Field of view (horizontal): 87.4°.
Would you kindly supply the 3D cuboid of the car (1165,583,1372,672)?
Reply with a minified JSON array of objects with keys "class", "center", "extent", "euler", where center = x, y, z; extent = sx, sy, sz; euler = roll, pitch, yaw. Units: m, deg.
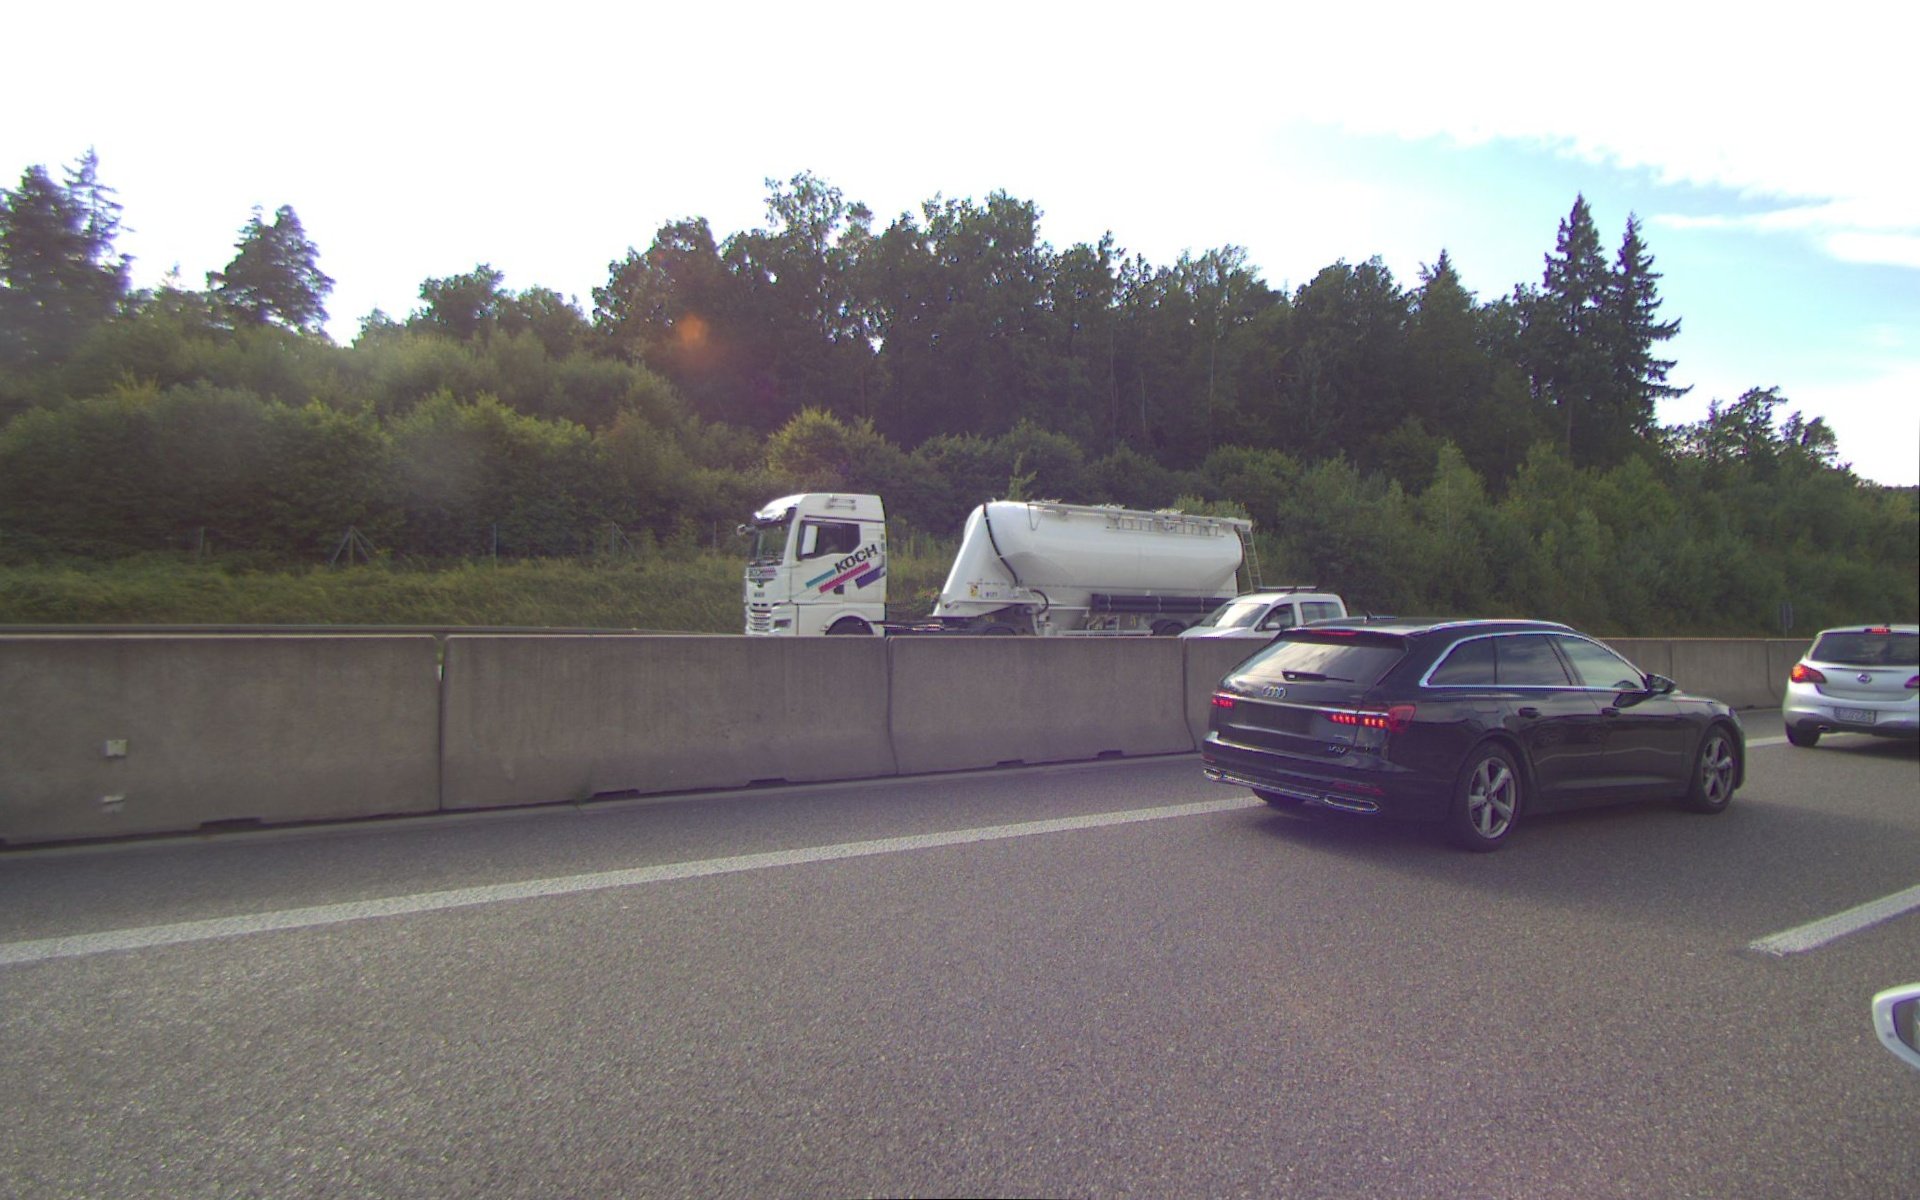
[{"class":"car","center":[6.616,0.559,21.416],"extent":[4.275,1.735,1.842],"euler":[1,0,-32]}]

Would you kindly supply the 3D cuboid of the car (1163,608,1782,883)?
[{"class":"car","center":[4.004,0.865,7.613],"extent":[4.794,1.491,1.873],"euler":[1,0,-30]}]

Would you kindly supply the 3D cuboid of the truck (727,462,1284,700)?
[{"class":"truck","center":[1.727,-0.176,23.556],"extent":[13.756,4.412,2.916],"euler":[2,0,-32]}]

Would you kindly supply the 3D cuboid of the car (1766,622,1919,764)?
[{"class":"car","center":[11.609,1.023,12.086],"extent":[3.995,1.485,1.738],"euler":[1,-1,-31]}]
